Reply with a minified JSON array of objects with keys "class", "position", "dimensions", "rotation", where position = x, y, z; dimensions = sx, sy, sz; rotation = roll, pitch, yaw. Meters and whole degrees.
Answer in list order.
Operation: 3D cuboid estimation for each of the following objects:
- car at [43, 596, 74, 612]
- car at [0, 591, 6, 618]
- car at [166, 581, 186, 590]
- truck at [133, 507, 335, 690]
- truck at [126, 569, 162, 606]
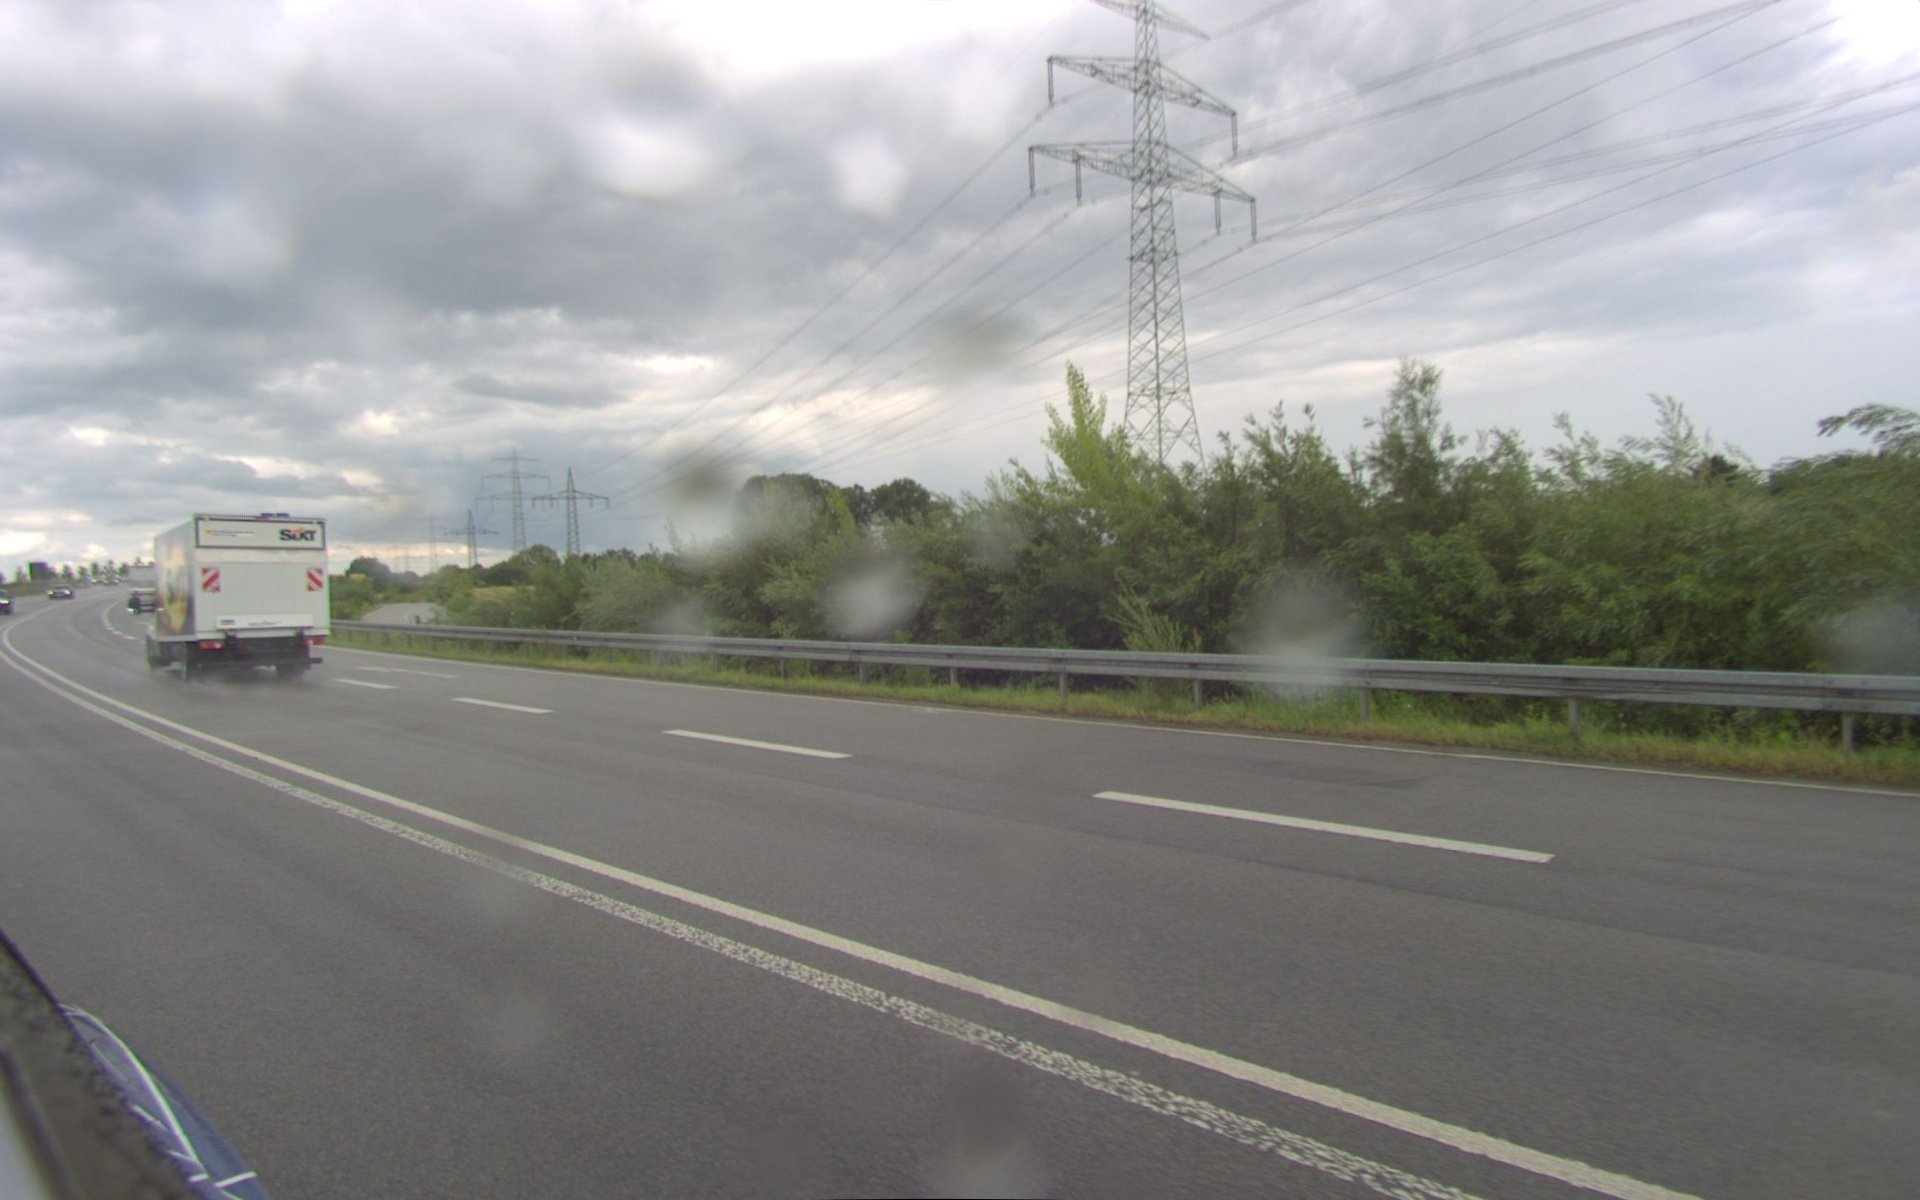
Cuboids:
[{"class":"car","position":[-89.220,0.401,100.201],"dimensions":[1.721,1.508,4.060],"rotation":[-3,1,-35]},{"class":"car","position":[-64.702,0.366,67.151],"dimensions":[1.769,1.782,4.006],"rotation":[-3,1,-40]},{"class":"car","position":[-129.399,-2.429,166.990],"dimensions":[1.869,1.452,4.916],"rotation":[0,1,-29]},{"class":"truck","position":[-14.985,-0.019,20.684],"dimensions":[6.692,3.179,2.231],"rotation":[0,0,44]},{"class":"truck","position":[-76.237,-1.107,94.673],"dimensions":[2.448,3.317,7.296],"rotation":[0,0,-38]}]
